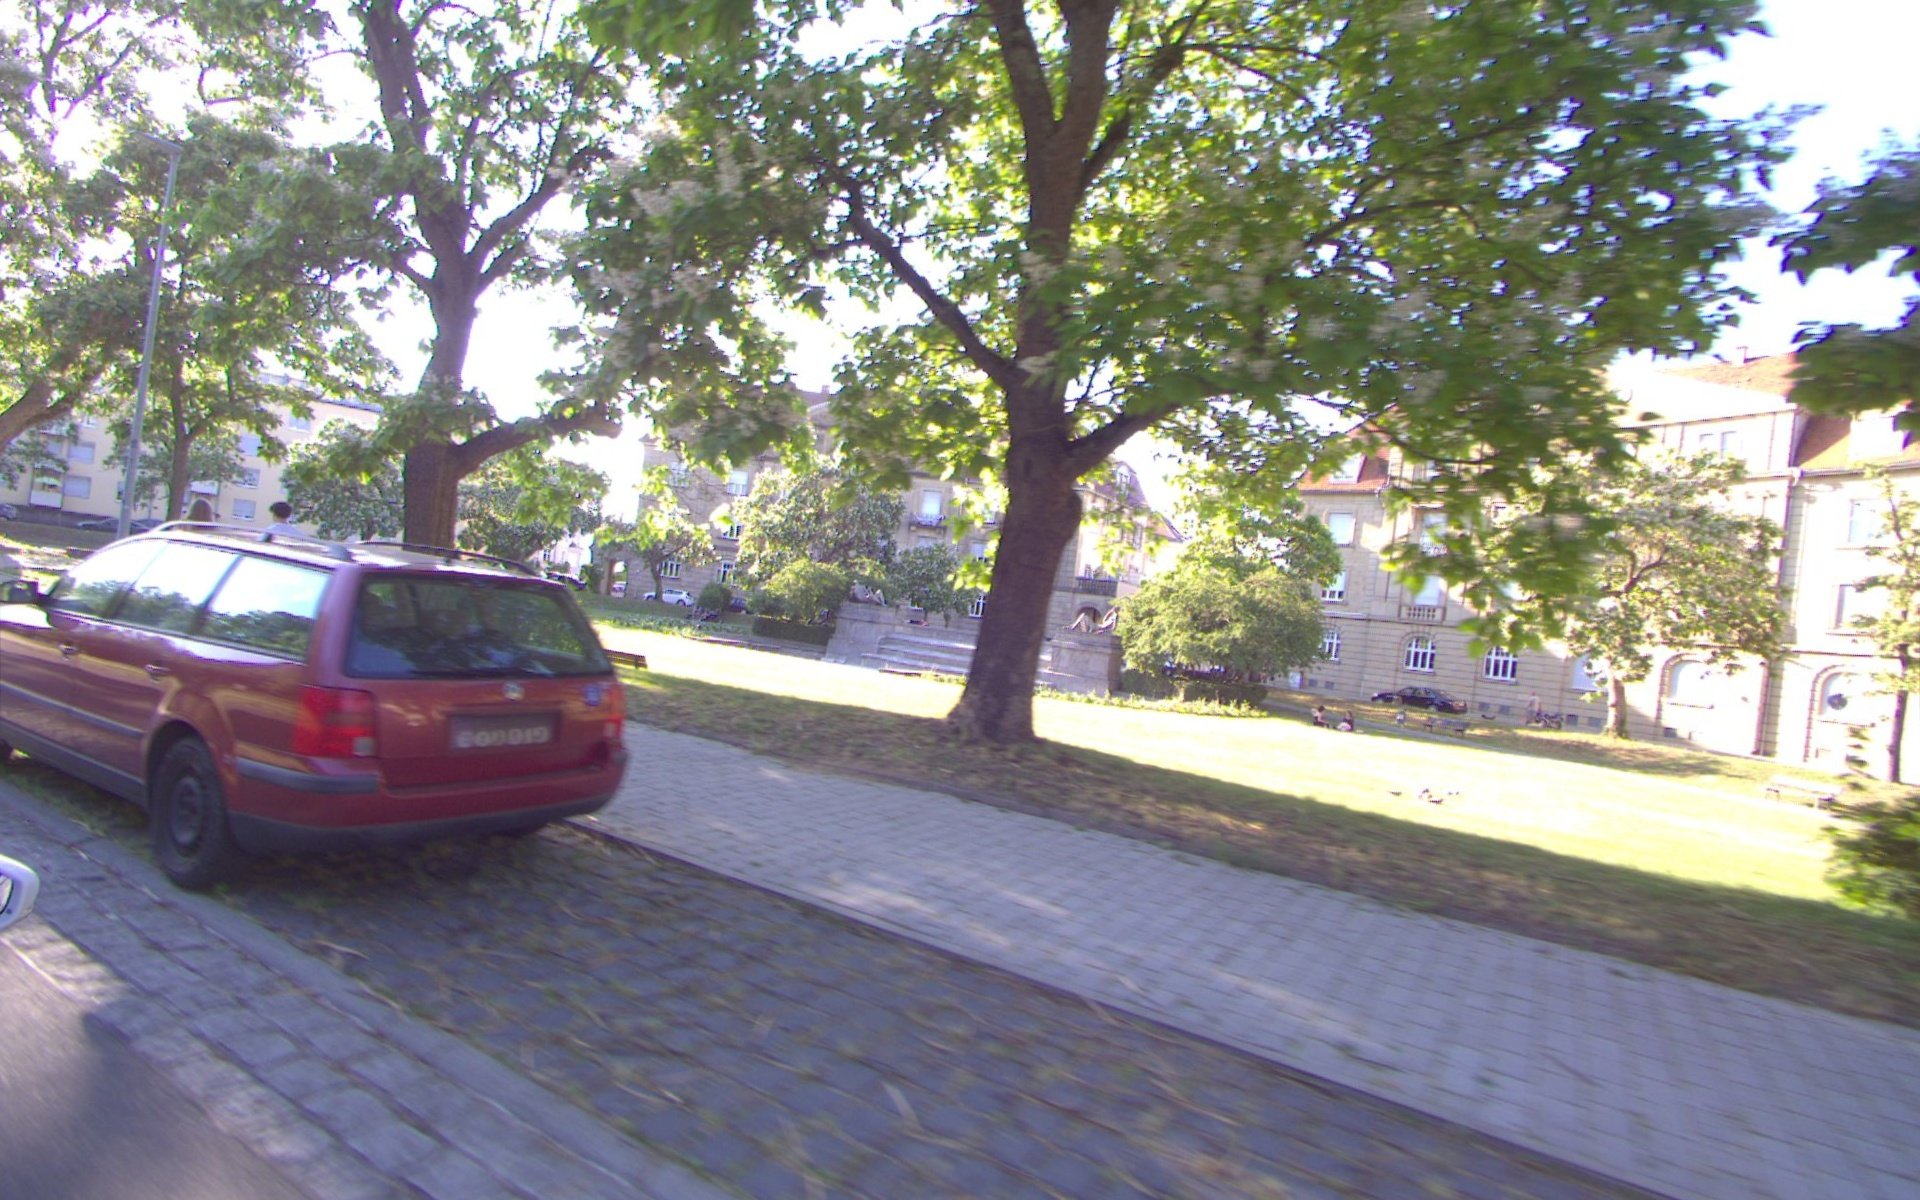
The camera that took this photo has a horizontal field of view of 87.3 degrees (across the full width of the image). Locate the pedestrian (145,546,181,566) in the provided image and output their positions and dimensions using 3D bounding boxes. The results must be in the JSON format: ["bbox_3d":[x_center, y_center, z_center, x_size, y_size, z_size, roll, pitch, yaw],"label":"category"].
[{"bbox_3d":[-41.392,-2.305,52.246,1.239,0.822,0.573,8,-2,-13],"label":"pedestrian"}]

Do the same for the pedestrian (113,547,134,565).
[{"bbox_3d":[-43.667,-2.305,52.505,0.712,0.822,0.612,7,-2,33],"label":"pedestrian"}]

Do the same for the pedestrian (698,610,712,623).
[{"bbox_3d":[-17.578,1.167,69.291,0.655,0.803,0.587,6,-1,21],"label":"pedestrian"}]

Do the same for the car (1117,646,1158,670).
[{"bbox_3d":[14.801,4.877,83.692,1.790,1.642,4.218,6,-2,33],"label":"car"}]

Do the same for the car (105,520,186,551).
[{"bbox_3d":[-59.506,-4.731,73.580,4.492,1.588,1.860,8,-2,-40],"label":"car"}]

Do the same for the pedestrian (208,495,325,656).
[{"bbox_3d":[-8.142,-0.285,11.820,0.720,1.756,0.726,7,-1,32],"label":"pedestrian"}]

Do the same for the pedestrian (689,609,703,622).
[{"bbox_3d":[-18.285,1.070,69.577,0.655,0.803,0.587,6,-1,21],"label":"pedestrian"}]

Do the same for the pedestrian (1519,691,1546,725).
[{"bbox_3d":[27.198,5.116,47.780,0.935,1.493,0.681,6,0,34],"label":"pedestrian"}]

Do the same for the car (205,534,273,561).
[{"bbox_3d":[-54.728,-3.976,76.444,3.957,1.470,1.866,8,-1,-30],"label":"car"}]

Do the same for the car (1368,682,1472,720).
[{"bbox_3d":[25.317,5.548,55.532,1.802,1.434,4.907,7,-2,-33],"label":"car"}]

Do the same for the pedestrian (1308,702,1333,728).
[{"bbox_3d":[14.529,4.633,40.581,0.570,0.891,0.674,8,-2,-20],"label":"pedestrian"}]

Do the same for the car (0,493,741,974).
[{"bbox_3d":[-3.559,0.369,5.323,4.730,1.504,1.681,6,-1,32],"label":"car"}]

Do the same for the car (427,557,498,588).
[{"bbox_3d":[-38.239,-2.125,77.462,4.455,1.767,1.875,7,-1,-15],"label":"car"}]

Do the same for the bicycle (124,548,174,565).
[{"bbox_3d":[-40.657,-2.183,50.467,1.755,0.622,1.796,8,-2,-34],"label":"bicycle"}]

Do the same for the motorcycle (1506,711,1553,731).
[{"bbox_3d":[27.072,5.754,47.817,1.830,0.679,0.681,6,-1,34],"label":"motorcycle"}]

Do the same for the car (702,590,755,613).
[{"bbox_3d":[-19.780,0.130,86.154,3.924,1.470,1.882,7,-1,6],"label":"car"}]

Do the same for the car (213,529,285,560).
[{"bbox_3d":[-50.759,-3.942,71.915,3.958,1.570,1.598,8,-1,-31],"label":"car"}]

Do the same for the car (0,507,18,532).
[{"bbox_3d":[-62.050,-5.313,63.080,4.182,1.480,1.673,8,-2,-43],"label":"car"}]

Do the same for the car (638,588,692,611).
[{"bbox_3d":[-25.192,-0.068,86.118,3.925,1.470,1.881,7,-1,1],"label":"car"}]

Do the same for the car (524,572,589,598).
[{"bbox_3d":[-31.792,-1.202,79.397,4.291,1.470,1.879,7,-1,-6],"label":"car"}]

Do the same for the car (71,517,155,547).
[{"bbox_3d":[-56.997,-4.583,67.803,4.175,1.373,1.676,8,-2,-38],"label":"car"}]

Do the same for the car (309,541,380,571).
[{"bbox_3d":[-48.824,-3.493,79.908,4.467,1.767,1.871,7,-1,-24],"label":"car"}]

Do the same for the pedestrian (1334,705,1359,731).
[{"bbox_3d":[15.579,4.755,40.582,0.570,0.891,0.674,8,-2,-20],"label":"pedestrian"}]

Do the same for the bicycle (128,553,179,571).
[{"bbox_3d":[-39.849,-1.860,49.744,1.755,0.622,1.796,8,-2,-34],"label":"bicycle"}]

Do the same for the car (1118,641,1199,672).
[{"bbox_3d":[13.179,3.750,66.918,4.878,1.434,1.813,5,-1,39],"label":"car"}]

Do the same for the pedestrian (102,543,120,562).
[{"bbox_3d":[-43.285,-2.420,51.287,0.602,0.822,0.473,7,-2,33],"label":"pedestrian"}]

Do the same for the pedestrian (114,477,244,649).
[{"bbox_3d":[-8.589,-0.395,11.076,0.720,1.756,0.754,7,-1,32],"label":"pedestrian"}]
